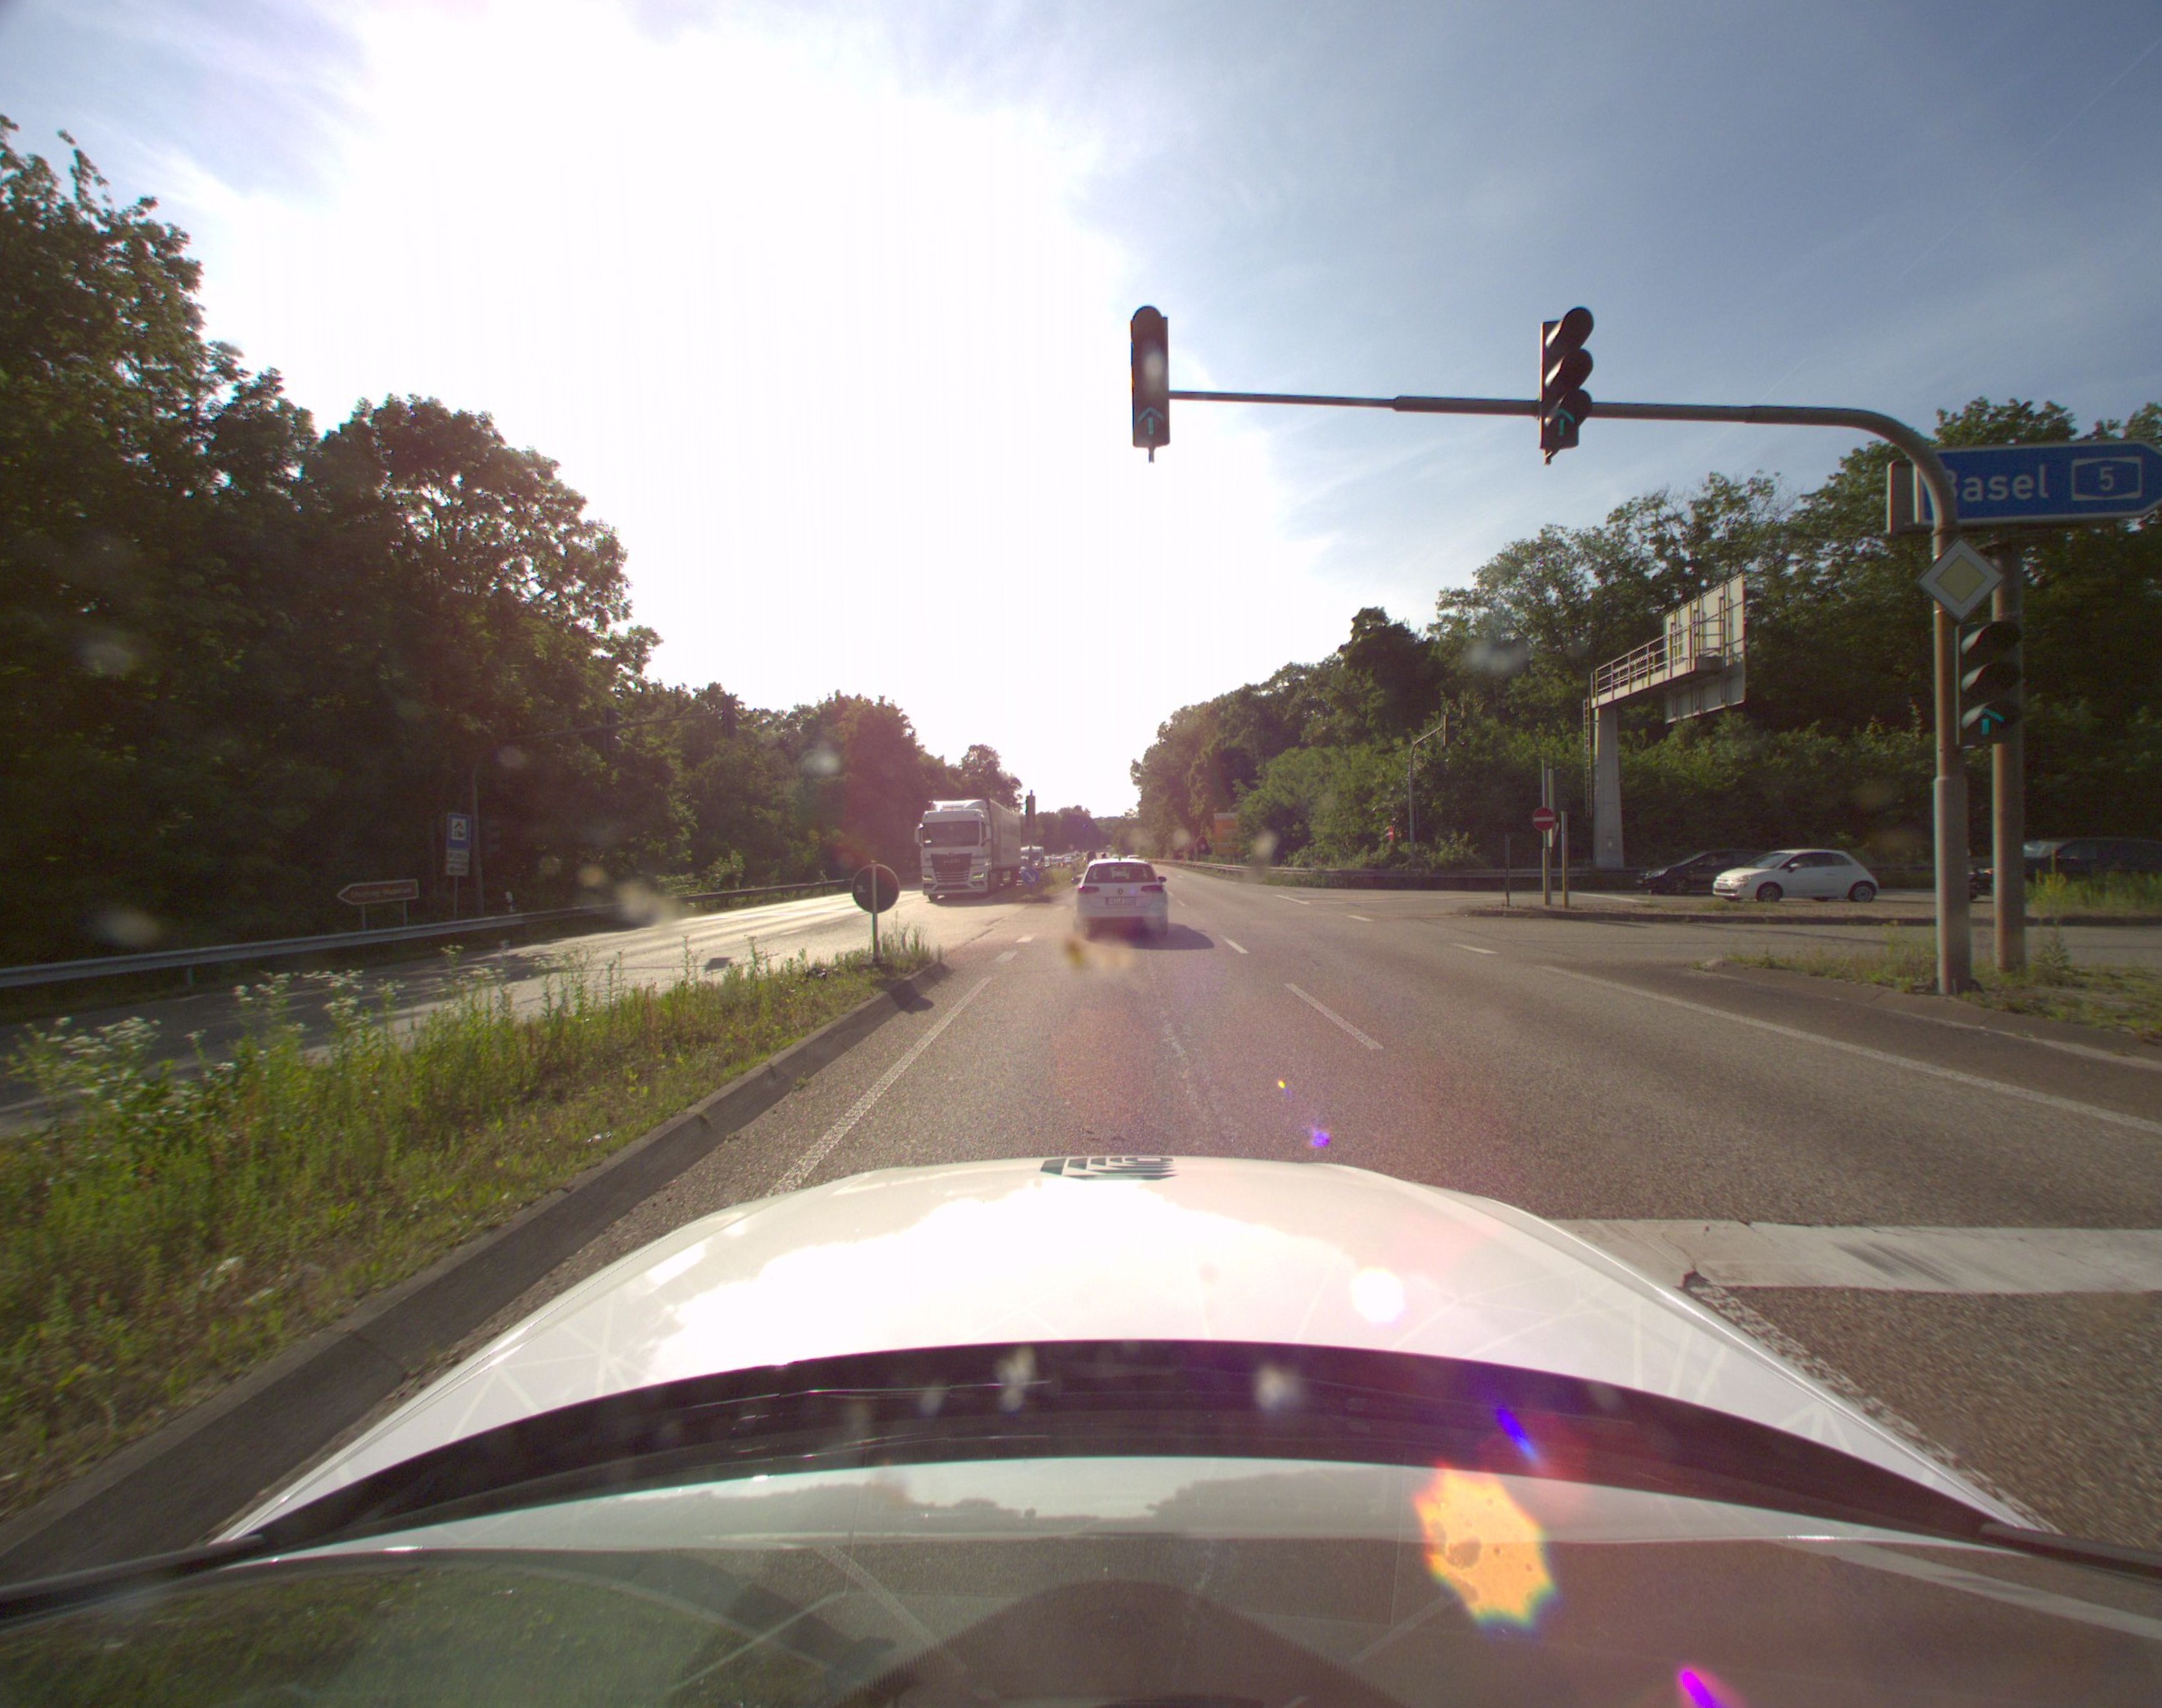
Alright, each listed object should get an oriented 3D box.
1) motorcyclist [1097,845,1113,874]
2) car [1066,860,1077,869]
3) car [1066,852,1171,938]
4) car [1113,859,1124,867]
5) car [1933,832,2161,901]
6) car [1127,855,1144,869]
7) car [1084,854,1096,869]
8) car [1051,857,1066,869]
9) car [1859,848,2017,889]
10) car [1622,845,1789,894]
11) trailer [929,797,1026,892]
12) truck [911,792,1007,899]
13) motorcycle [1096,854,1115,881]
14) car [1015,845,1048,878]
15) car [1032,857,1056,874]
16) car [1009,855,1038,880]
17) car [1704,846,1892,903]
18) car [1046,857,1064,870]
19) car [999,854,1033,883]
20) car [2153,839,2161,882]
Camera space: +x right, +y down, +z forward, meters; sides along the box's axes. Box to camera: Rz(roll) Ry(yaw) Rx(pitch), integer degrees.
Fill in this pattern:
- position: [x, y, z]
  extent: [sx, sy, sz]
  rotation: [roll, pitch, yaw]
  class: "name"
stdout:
- position: [1.410, 0.309, 47.148]
  extent: [0.880, 1.616, 1.291]
  rotation: [0, 0, 3]
  class: "motorcyclist"
- position: [-1.714, 1.995, 155.006]
  extent: [1.861, 1.417, 4.417]
  rotation: [-3, 0, 2]
  class: "car"
- position: [0.721, 0.727, 16.927]
  extent: [1.863, 1.521, 4.835]
  rotation: [0, 0, 1]
  class: "car"
- position: [6.902, 1.656, 150.934]
  extent: [1.740, 1.537, 3.922]
  rotation: [0, 0, -3]
  class: "car"
- position: [25.734, 0.318, 21.608]
  extent: [4.089, 1.708, 1.873]
  rotation: [-1, 0, 6]
  class: "car"
- position: [5.651, 0.840, 84.650]
  extent: [1.754, 1.380, 3.974]
  rotation: [0, 0, 2]
  class: "car"
- position: [1.870, 1.528, 170.856]
  extent: [2.202, 2.888, 7.013]
  rotation: [-2, 0, 1]
  class: "car"
- position: [-2.845, 1.118, 104.079]
  extent: [1.700, 1.423, 4.213]
  rotation: [-3, 0, 2]
  class: "car"
- position: [28.895, 0.472, 27.549]
  extent: [3.608, 1.313, 1.494]
  rotation: [-1, 0, 6]
  class: "car"
- position: [20.262, 0.471, 26.648]
  extent: [4.072, 1.496, 1.796]
  rotation: [0, 0, 26]
  class: "car"
- position: [-4.874, -0.407, 41.499]
  extent: [2.981, 3.996, 14.014]
  rotation: [-1, 0, 1]
  class: "trailer"
- position: [-4.894, -0.327, 33.973]
  extent: [2.881, 3.997, 6.721]
  rotation: [-1, 0, 0]
  class: "truck"
- position: [1.419, 0.762, 47.244]
  extent: [0.905, 1.453, 2.691]
  rotation: [-4, 0, 4]
  class: "motorcycle"
- position: [-4.024, 0.589, 66.997]
  extent: [2.067, 2.533, 6.166]
  rotation: [-3, 0, 2]
  class: "car"
- position: [-3.403, 1.015, 74.978]
  extent: [1.753, 1.456, 5.187]
  rotation: [-3, 0, 2]
  class: "car"
- position: [-4.112, 0.925, 58.998]
  extent: [1.694, 1.631, 4.747]
  rotation: [-3, 0, 0]
  class: "car"
- position: [19.896, 0.554, 22.741]
  extent: [3.579, 1.503, 1.811]
  rotation: [-1, 0, 6]
  class: "car"
- position: [-3.072, 1.146, 97.080]
  extent: [1.764, 1.423, 5.194]
  rotation: [-3, 0, 2]
  class: "car"
- position: [-4.064, 0.872, 51.151]
  extent: [1.694, 1.631, 4.370]
  rotation: [-3, 0, 0]
  class: "car"
- position: [38.139, 0.211, 26.387]
  extent: [4.089, 1.441, 1.873]
  rotation: [-1, 0, 6]
  class: "car"
